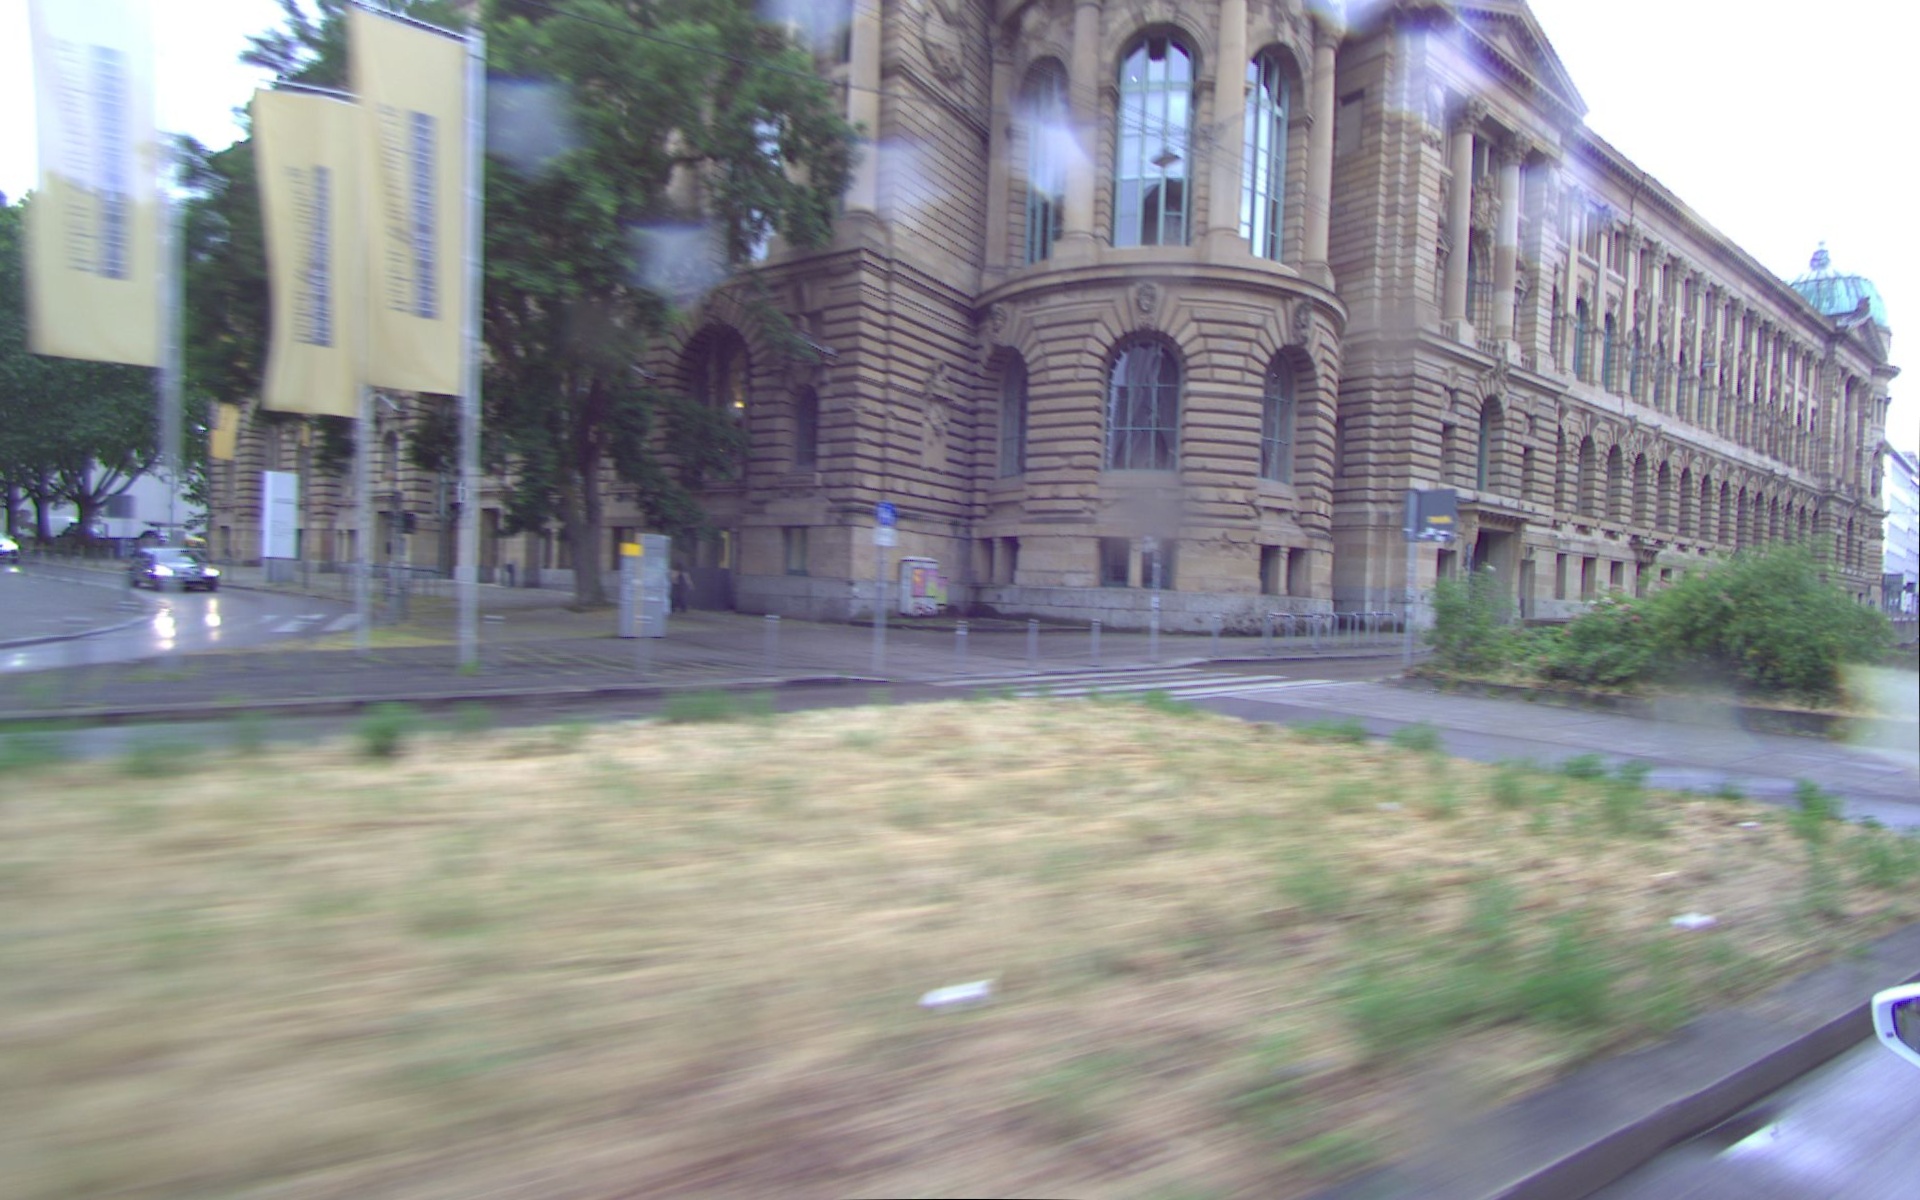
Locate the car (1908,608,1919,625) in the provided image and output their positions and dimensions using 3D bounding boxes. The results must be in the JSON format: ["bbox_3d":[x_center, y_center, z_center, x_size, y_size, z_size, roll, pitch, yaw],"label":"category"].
[{"bbox_3d":[116.053,1.990,121.261,4.892,1.908,1.974,1,2,-44],"label":"car"}]

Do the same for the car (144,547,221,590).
[{"bbox_3d":[-27.366,-1.112,35.320,3.571,1.422,1.610,2,1,43],"label":"car"}]

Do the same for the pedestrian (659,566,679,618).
[{"bbox_3d":[-8.863,-0.237,30.607,0.380,1.549,0.440,2,1,34],"label":"pedestrian"}]

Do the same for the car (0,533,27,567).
[{"bbox_3d":[-47.605,-2.471,49.196,4.143,1.577,1.994,3,2,35],"label":"car"}]

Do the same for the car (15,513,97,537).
[{"bbox_3d":[-83.239,-6.898,92.504,6.165,1.983,2.315,2,1,10],"label":"car"}]

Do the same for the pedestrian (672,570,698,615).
[{"bbox_3d":[-8.552,-0.234,31.238,0.434,1.363,0.642,2,1,34],"label":"pedestrian"}]
